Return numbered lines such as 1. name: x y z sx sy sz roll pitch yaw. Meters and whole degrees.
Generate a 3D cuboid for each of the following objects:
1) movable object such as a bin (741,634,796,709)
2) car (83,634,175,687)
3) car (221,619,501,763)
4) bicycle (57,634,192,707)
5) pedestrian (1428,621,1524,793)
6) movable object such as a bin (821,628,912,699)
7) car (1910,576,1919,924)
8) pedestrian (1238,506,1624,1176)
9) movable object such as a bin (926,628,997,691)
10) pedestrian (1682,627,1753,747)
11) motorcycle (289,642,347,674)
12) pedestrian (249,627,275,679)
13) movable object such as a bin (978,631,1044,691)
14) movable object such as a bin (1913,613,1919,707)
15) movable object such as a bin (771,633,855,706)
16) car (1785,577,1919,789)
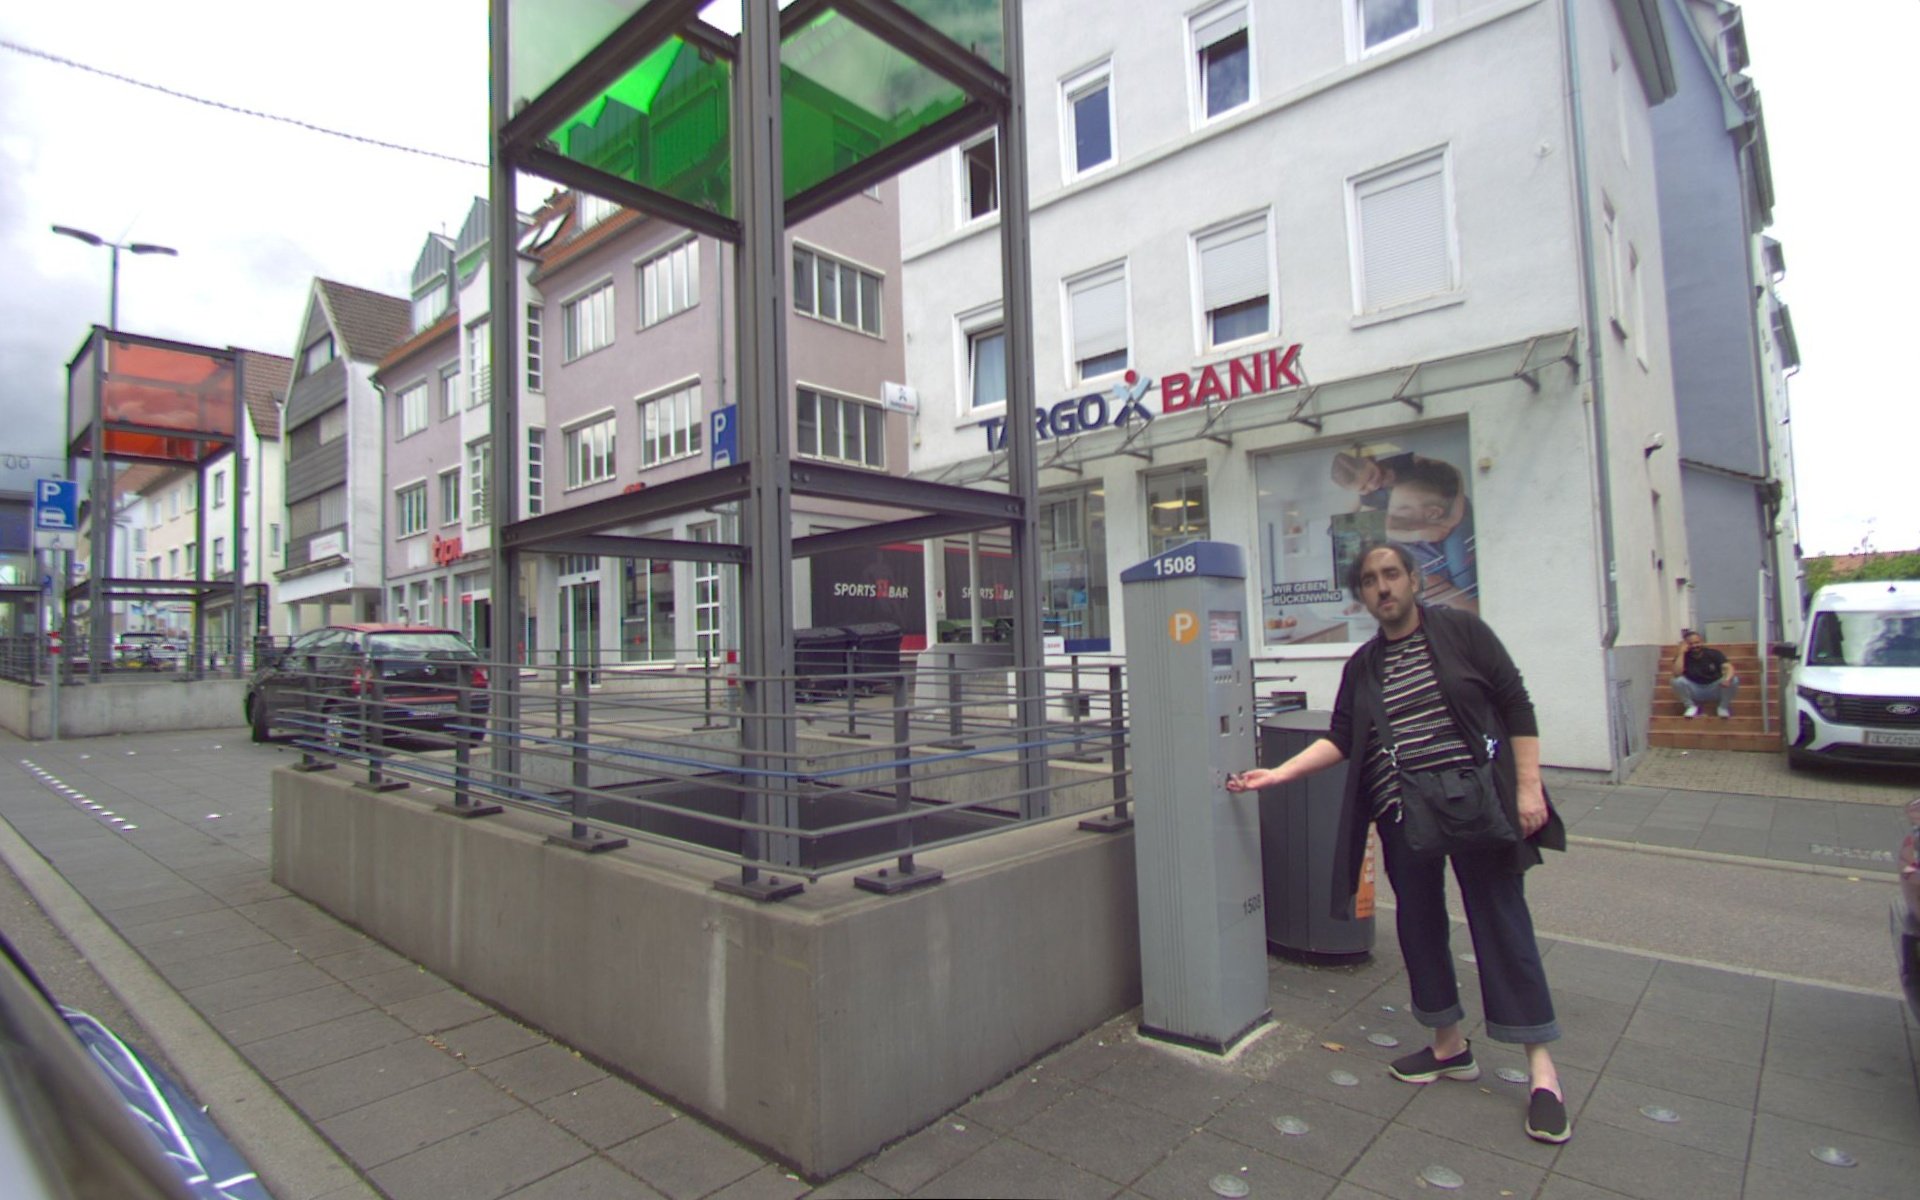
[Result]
1. movable object such as a bin: -3.670 1.345 19.343 0.807 1.387 0.682 -2 -2 41
2. car: -27.556 1.948 33.513 4.120 1.583 1.662 -1 -1 41
3. car: -7.298 0.996 12.206 3.850 1.486 1.554 -1 -3 38
4. bicycle: -14.708 1.217 17.858 0.459 1.232 1.760 -1 -3 40
5. pedestrian: 5.010 1.009 9.835 0.716 1.585 0.559 -2 -4 41
6. movable object such as a bin: -1.931 1.285 20.959 1.406 1.387 1.270 -2 -2 41
7. car: 4.579 0.640 1.705 4.189 1.555 1.721 -1 -3 40
8. pedestrian: 1.401 0.618 3.068 0.901 1.685 0.527 -3 -2 44
9. movable object such as a bin: 0.036 1.337 23.184 1.043 1.387 1.270 -2 -2 40
10. pedestrian: 8.804 0.984 11.757 0.606 1.329 0.619 -1 -1 40
11. motorcycle: -25.323 2.264 39.933 0.633 1.149 1.830 -1 0 40
12. pedestrian: -23.972 1.807 34.756 0.513 1.729 0.584 -1 -1 41
13. movable object such as a bin: 1.254 1.466 24.711 1.043 1.387 1.270 -2 -2 40
14. movable object such as a bin: 15.300 0.925 15.101 1.265 1.490 2.282 -2 -2 37
15. movable object such as a bin: -2.915 1.349 20.126 1.067 1.387 1.270 -2 -2 40
16. car: 9.978 0.710 10.545 1.883 1.887 4.027 -2 0 42
